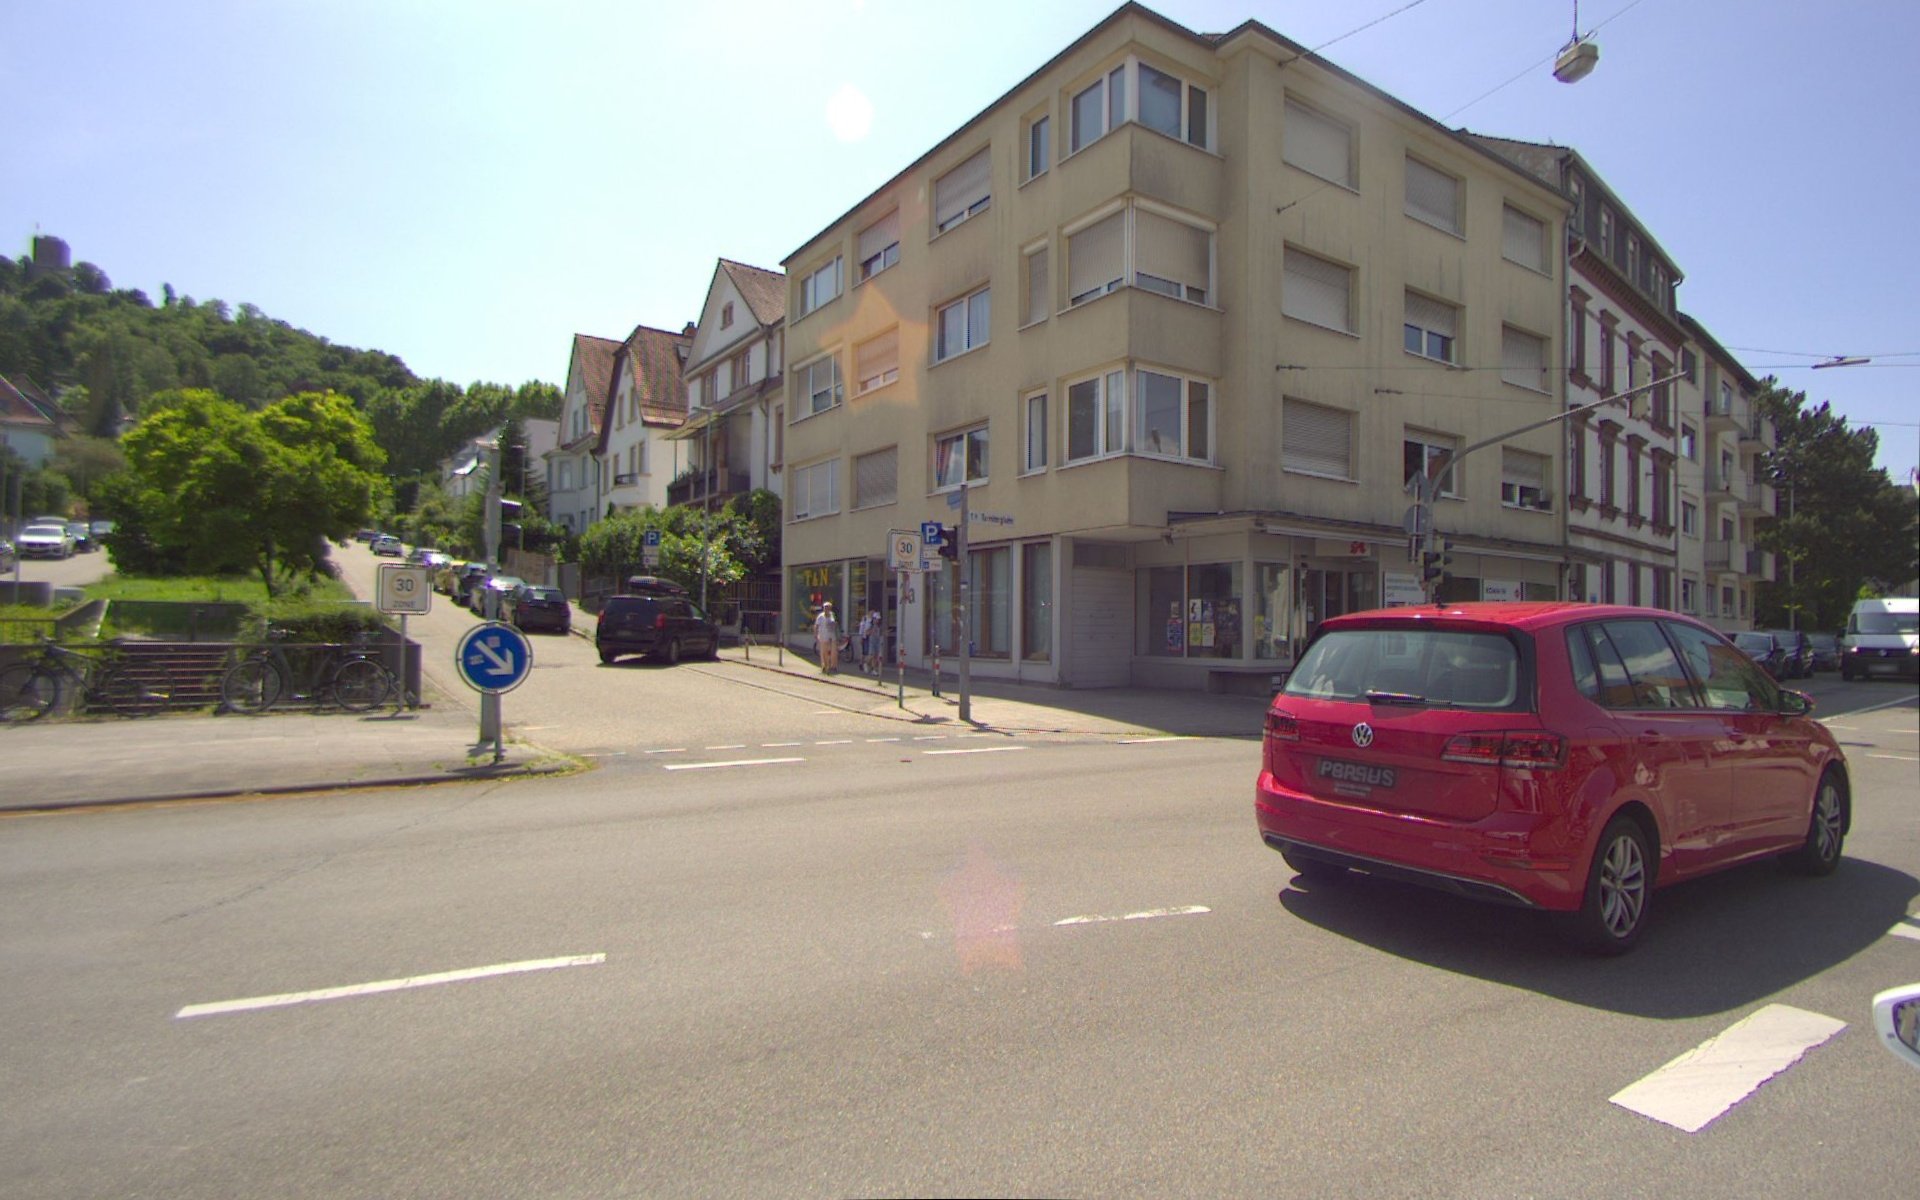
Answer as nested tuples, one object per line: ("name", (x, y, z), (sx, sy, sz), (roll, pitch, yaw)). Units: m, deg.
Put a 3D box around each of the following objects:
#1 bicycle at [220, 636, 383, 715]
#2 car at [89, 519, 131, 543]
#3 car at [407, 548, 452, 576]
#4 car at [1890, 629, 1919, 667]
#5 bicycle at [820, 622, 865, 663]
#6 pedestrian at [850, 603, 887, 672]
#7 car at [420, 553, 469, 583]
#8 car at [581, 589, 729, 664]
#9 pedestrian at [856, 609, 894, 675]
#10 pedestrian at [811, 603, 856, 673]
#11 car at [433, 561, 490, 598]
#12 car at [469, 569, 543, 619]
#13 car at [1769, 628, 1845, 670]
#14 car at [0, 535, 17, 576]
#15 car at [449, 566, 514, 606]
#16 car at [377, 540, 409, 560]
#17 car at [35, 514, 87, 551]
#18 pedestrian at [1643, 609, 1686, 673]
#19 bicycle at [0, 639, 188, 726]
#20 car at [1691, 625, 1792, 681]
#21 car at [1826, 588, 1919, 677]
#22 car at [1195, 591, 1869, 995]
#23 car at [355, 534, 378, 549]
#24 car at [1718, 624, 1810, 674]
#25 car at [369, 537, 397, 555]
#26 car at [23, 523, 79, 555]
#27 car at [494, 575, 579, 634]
("bicycle", (-8.690, 0.973, 13.306), (1.766, 0.980, 0.394), (1, -1, -37))
("car", (-56.915, -4.654, 67.316), (1.740, 1.467, 3.704), (1, 3, -34))
("car", (-30.917, -2.221, 58.483), (1.840, 1.440, 3.961), (1, 3, -34))
("car", (41.116, 2.015, 42.467), (4.245, 1.578, 1.840), (1, -3, -36))
("bicycle", (-3.192, 1.141, 27.079), (0.493, 1.040, 1.727), (1, -1, -33))
("pedestrian", (-2.218, 0.897, 24.364), (0.641, 1.654, 0.682), (1, -1, -31))
("car", (-27.555, -1.729, 53.644), (1.840, 1.440, 3.961), (1, 3, -34))
("car", (-7.484, 0.656, 25.148), (1.959, 1.686, 4.332), (1, -1, 6))
("pedestrian", (-1.978, 0.959, 23.302), (0.641, 1.495, 0.682), (1, -1, -31))
("pedestrian", (-3.047, 0.903, 24.124), (0.813, 1.654, 0.797), (1, -1, -31))
("car", (-22.837, -0.957, 45.932), (1.791, 1.440, 3.961), (1, 3, -34))
("car", (-16.734, -0.250, 36.894), (1.791, 1.571, 3.961), (1, 3, -34))
("car", (33.549, 1.920, 39.735), (3.974, 1.530, 1.974), (2, -2, -45))
("car", (-38.327, -1.794, 39.267), (1.742, 1.467, 3.699), (1, 3, -37))
("car", (-19.581, -0.587, 41.014), (1.791, 1.406, 3.961), (1, 3, -34))
("car", (-45.531, -4.017, 80.634), (1.840, 1.440, 3.961), (1, 3, -34))
("car", (-48.209, -3.638, 53.914), (1.742, 1.839, 3.699), (1, 3, -37))
("pedestrian", (22.229, 1.280, 31.696), (0.970, 1.957, 0.926), (2, -1, -44))
("bicycle", (-10.408, 0.964, 12.105), (1.730, 0.980, 0.394), (1, -1, -37))
("car", (23.783, 1.592, 30.519), (1.973, 1.539, 3.975), (1, -1, 45))
("car", (29.623, 1.082, 31.902), (7.498, 2.533, 2.197), (2, -5, -42))
("car", (3.425, 0.798, 5.797), (3.995, 1.578, 1.788), (2, 0, -34))
("car", (-62.073, -6.120, 104.996), (1.840, 1.440, 3.961), (1, 3, -34))
("car", (27.131, 1.632, 33.853), (3.974, 1.539, 1.973), (3, -1, -45))
("car", (-50.999, -4.782, 88.730), (1.840, 1.440, 3.961), (1, 3, -34))
("car", (-45.574, -3.081, 50.430), (1.742, 1.467, 3.699), (1, 3, -37))
("car", (-13.840, 0.118, 32.717), (1.791, 1.638, 3.961), (1, 3, -34))
